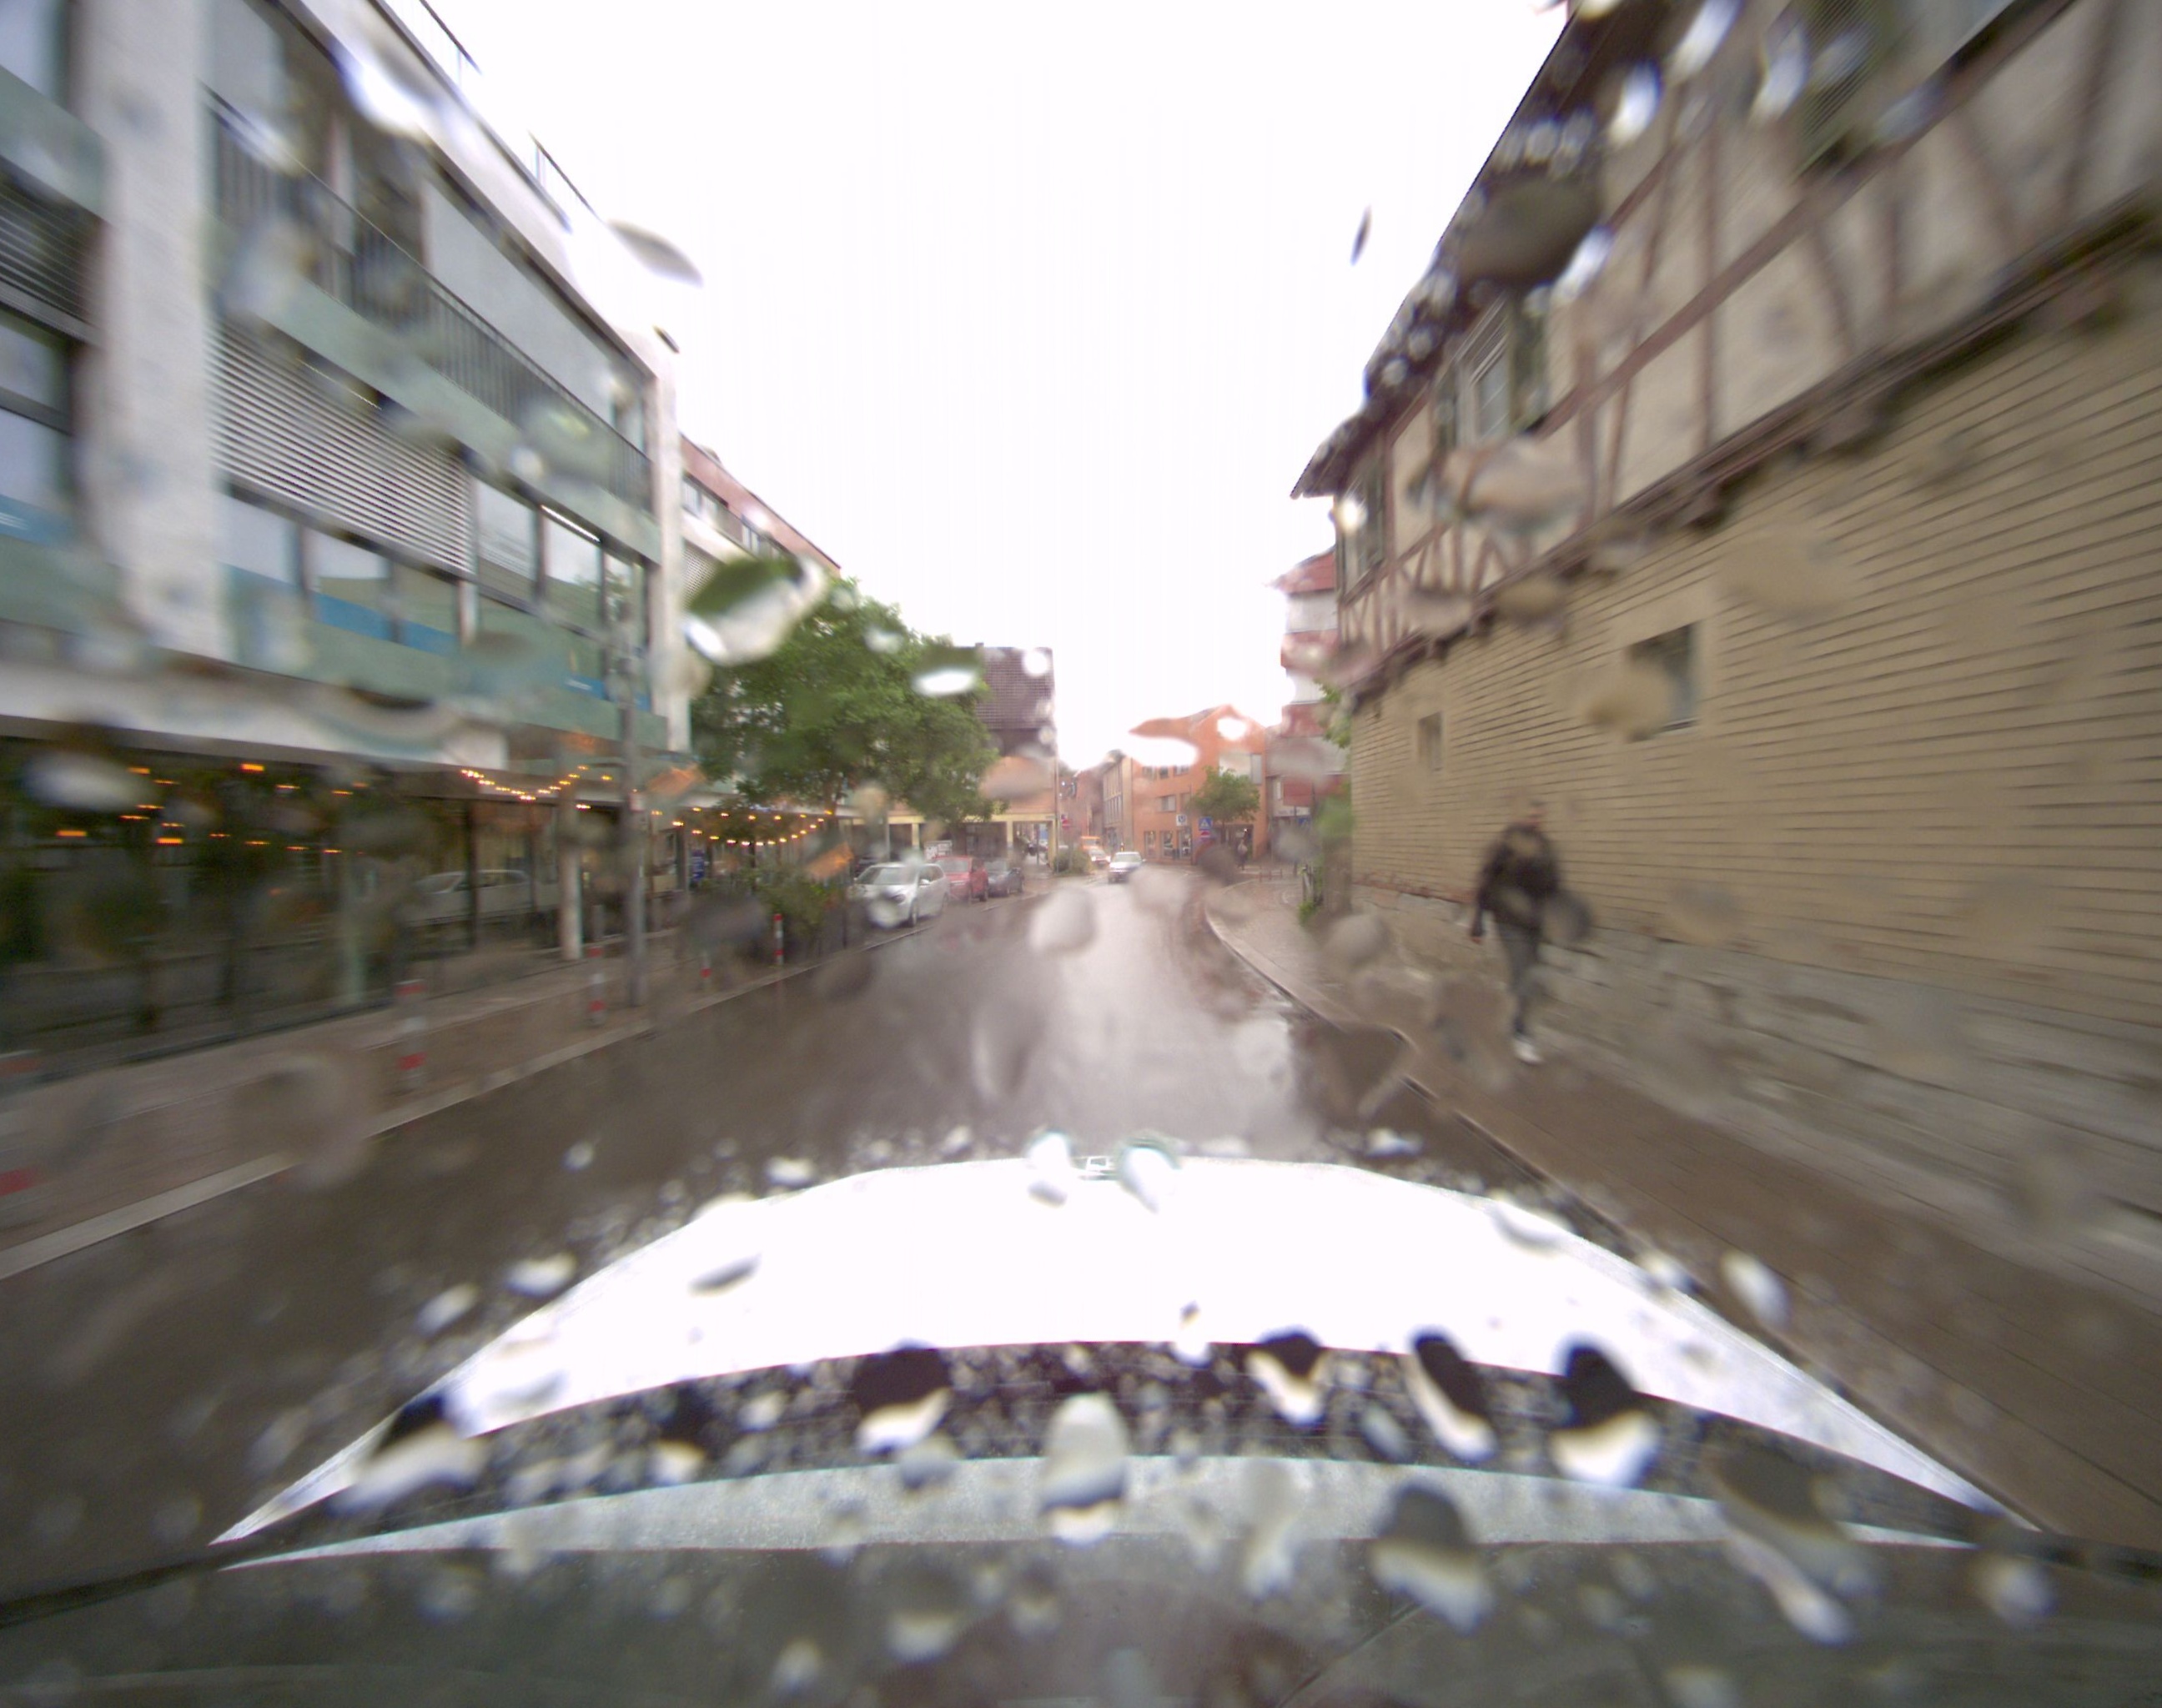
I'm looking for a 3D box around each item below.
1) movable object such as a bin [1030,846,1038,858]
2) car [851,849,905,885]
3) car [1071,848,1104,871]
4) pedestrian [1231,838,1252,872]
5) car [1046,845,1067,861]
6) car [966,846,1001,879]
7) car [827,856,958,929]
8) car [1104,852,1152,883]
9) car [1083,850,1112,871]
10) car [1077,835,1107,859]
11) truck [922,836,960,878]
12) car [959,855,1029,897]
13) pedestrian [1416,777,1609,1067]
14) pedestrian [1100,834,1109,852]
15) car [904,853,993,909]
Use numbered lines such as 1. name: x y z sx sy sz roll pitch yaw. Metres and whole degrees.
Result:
1. movable object such as a bin: -5.594 -0.269 97.475 0.834 1.382 0.851 -2 1 -9
2. car: -11.186 0.675 45.150 1.805 1.617 4.004 -1 5 2
3. car: 0.372 0.353 53.957 1.713 1.458 3.901 0 1 -7
4. pedestrian: 9.229 0.068 46.895 0.762 1.914 0.853 -1 0 -44
5. car: -2.387 -0.146 79.439 1.989 1.441 4.160 -2 1 -3
6. car: -5.519 0.443 46.455 1.573 1.478 3.823 -1 5 -1
7. car: -4.453 0.855 19.992 1.778 1.498 4.461 -2 0 5
8. car: 2.312 0.645 41.013 1.787 1.417 4.022 -4 0 -5
9. car: 1.201 0.433 60.472 1.646 1.445 3.977 -3 1 -5
10. car: 1.009 -0.640 80.001 2.103 2.146 4.853 -3 0 -8
11. truck: -7.930 0.138 46.299 1.593 2.062 3.191 -3 5 -2
12. car: -3.220 0.782 30.875 1.705 1.458 3.919 0 1 8
13. pedestrian: 3.059 0.447 5.869 0.808 1.885 0.907 -3 0 -2
14. pedestrian: 2.670 -1.242 91.942 0.866 2.013 0.706 -1 1 -8
15. car: -4.101 0.782 25.901 1.778 1.576 4.113 -2 0 5
